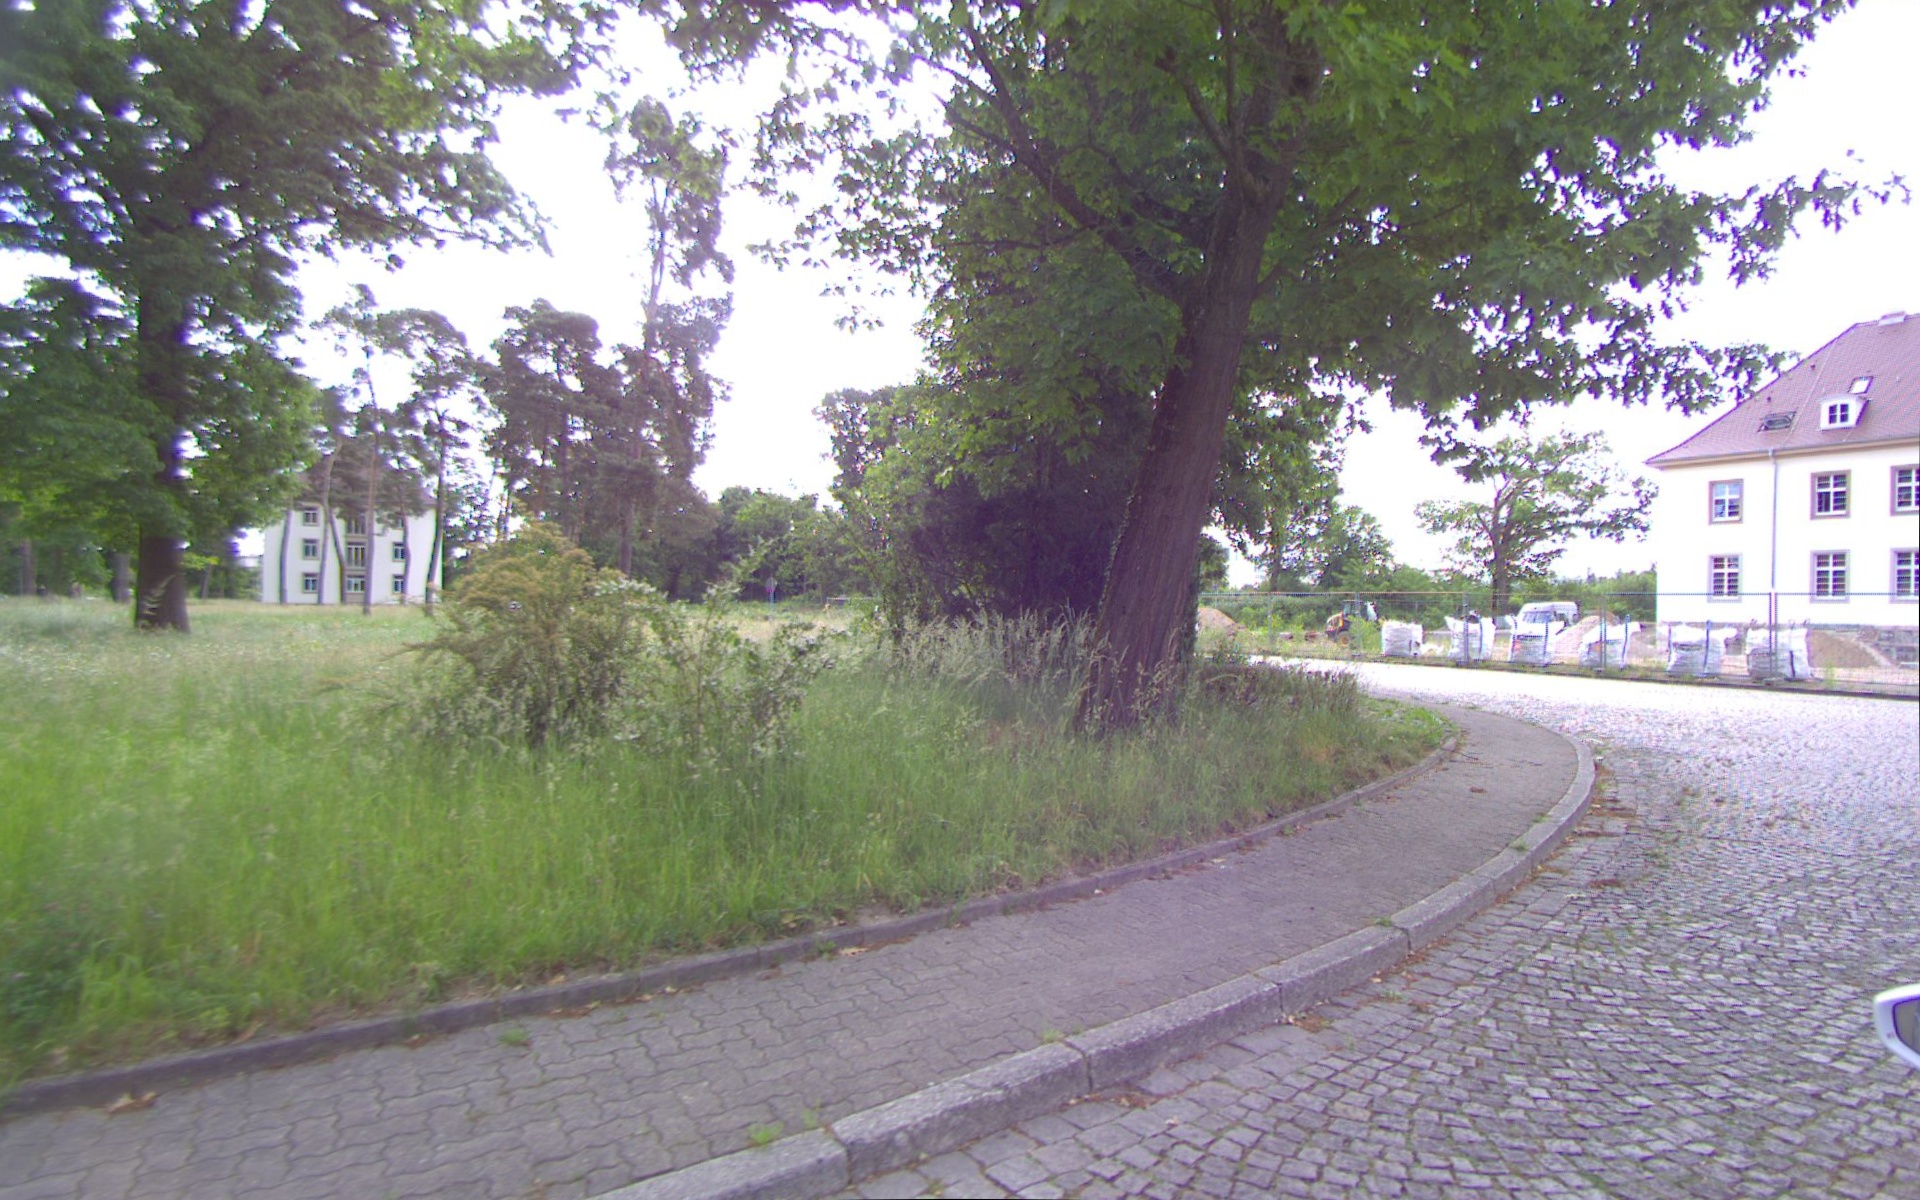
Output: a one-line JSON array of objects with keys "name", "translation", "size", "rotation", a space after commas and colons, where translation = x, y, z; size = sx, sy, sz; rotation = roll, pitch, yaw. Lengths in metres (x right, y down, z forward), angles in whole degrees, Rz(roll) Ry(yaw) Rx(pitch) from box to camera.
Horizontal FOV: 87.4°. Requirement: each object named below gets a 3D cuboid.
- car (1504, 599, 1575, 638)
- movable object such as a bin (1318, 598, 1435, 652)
[{"name": "car", "translation": [33.670, 1.083, 58.289], "size": [4.859, 2.179, 2.050], "rotation": [1, 0, -40]}, {"name": "movable object such as a bin", "translation": [21.139, 1.234, 51.193], "size": [1.980, 2.590, 5.295], "rotation": [1, 0, -34]}]
